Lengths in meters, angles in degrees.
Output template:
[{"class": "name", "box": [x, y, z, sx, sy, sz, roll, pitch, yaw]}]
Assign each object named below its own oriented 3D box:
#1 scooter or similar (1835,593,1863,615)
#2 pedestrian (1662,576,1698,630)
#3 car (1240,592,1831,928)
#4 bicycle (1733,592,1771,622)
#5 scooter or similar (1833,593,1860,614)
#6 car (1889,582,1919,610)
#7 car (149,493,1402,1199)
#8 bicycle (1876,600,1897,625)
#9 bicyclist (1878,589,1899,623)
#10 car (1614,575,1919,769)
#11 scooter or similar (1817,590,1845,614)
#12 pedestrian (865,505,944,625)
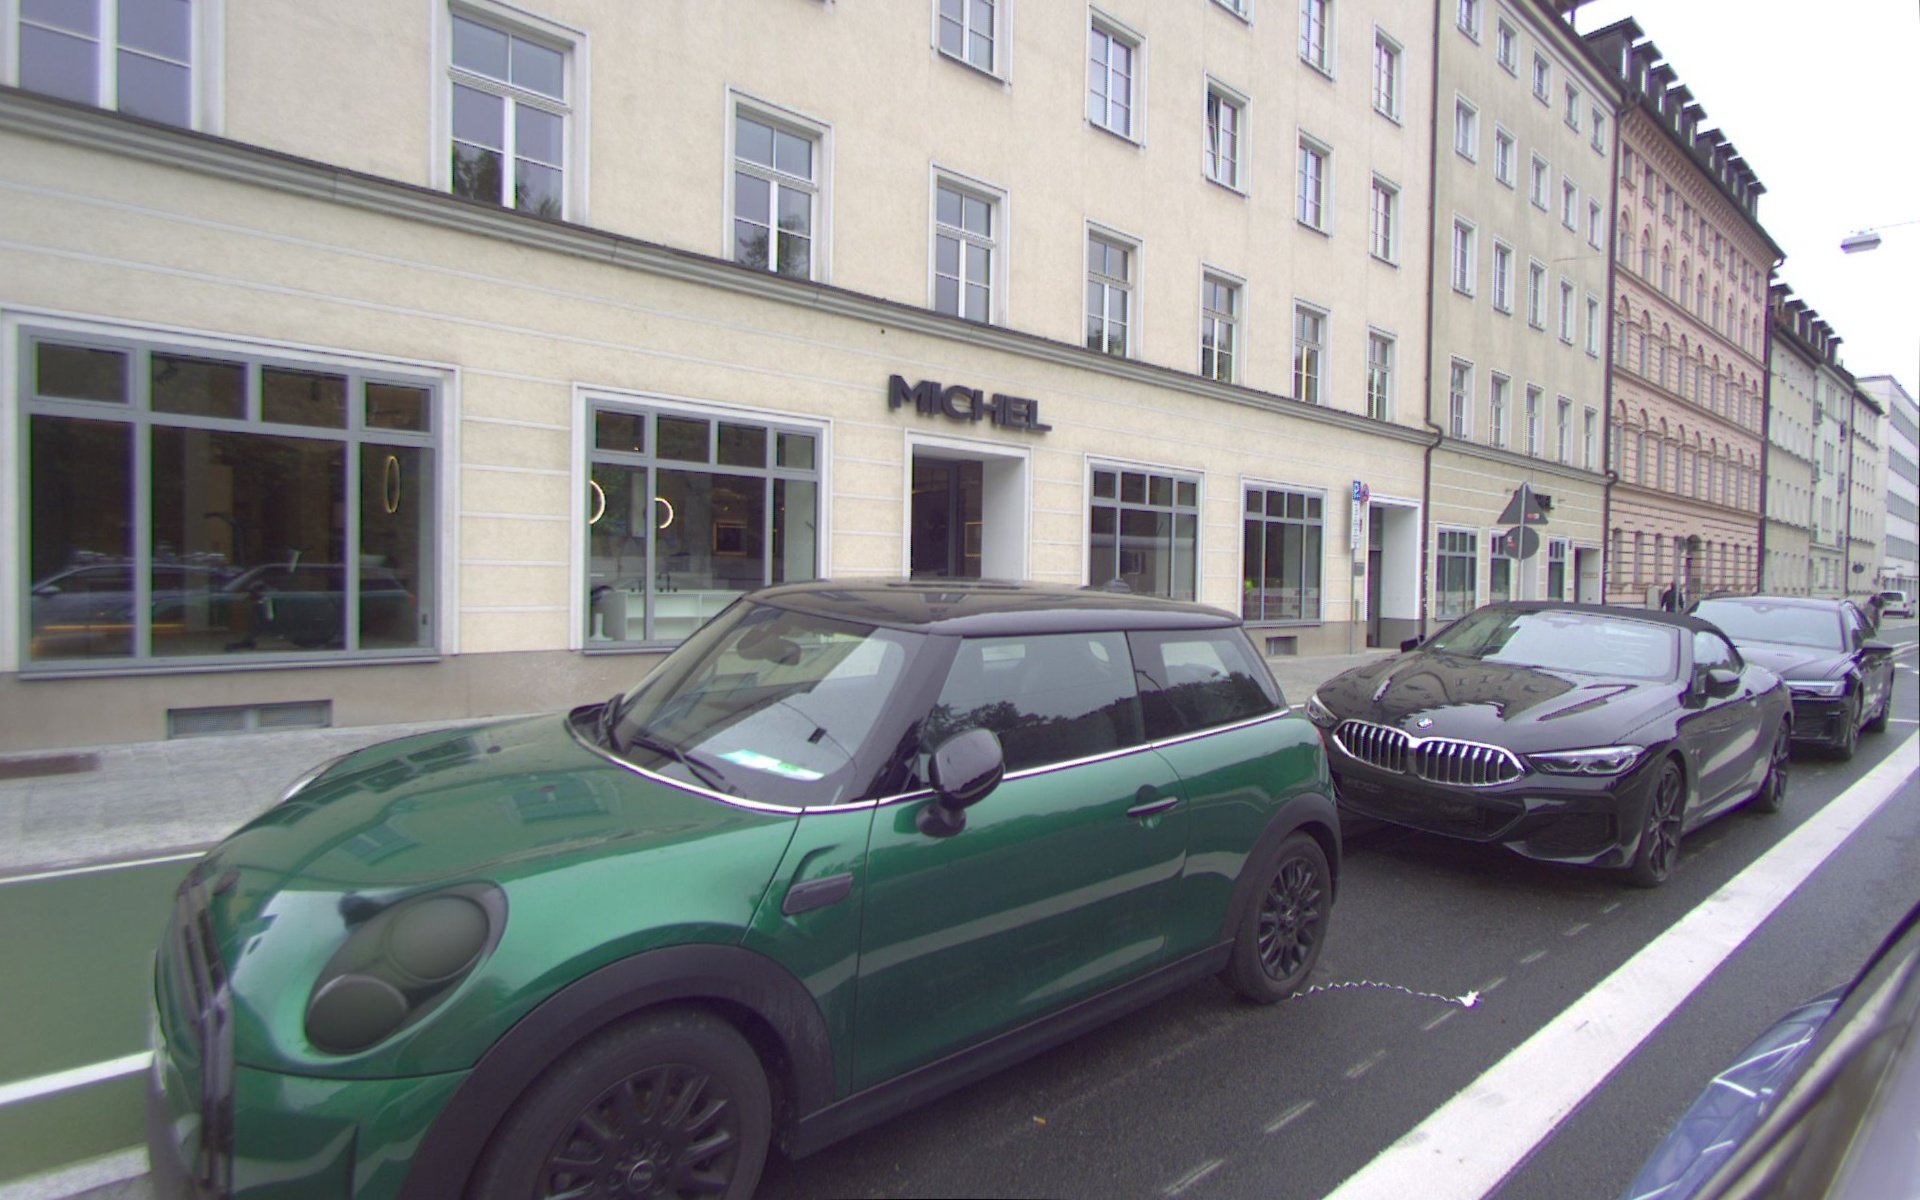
[{"class": "scooter or similar", "box": [50.512, 0.206, 57.522, 1.063, 1.207, 0.451, 2, 1, 20]}, {"class": "pedestrian", "box": [24.140, 0.088, 33.939, 0.819, 1.767, 0.795, 0, 1, -40]}, {"class": "car", "box": [3.935, 0.667, 6.511, 4.636, 1.425, 1.829, 0, 0, -40]}, {"class": "bicycle", "box": [33.057, 0.288, 42.252, 1.690, 1.191, 0.558, 0, 1, -27]}, {"class": "scooter or similar", "box": [51.319, 0.208, 58.599, 1.059, 1.207, 0.436, 1, 1, 10]}, {"class": "car", "box": [64.156, -0.281, 68.287, 3.931, 1.855, 1.764, 0, 1, -42]}, {"class": "car", "box": [-0.261, 0.601, 3.350, 3.761, 1.540, 1.678, 0, 0, -40]}, {"class": "bicycle", "box": [41.125, 0.543, 44.946, 0.630, 1.050, 1.987, 2, 2, 42]}, {"class": "bicyclist", "box": [41.193, 0.255, 44.906, 0.630, 1.486, 0.643, 2, 1, 42]}, {"class": "car", "box": [8.609, 0.582, 10.613, 4.386, 1.498, 1.812, 0, 5, -43]}, {"class": "scooter or similar", "box": [46.921, 0.121, 54.533, 1.055, 1.261, 0.554, 1, 1, -6]}, {"class": "pedestrian", "box": [-0.824, -0.519, 14.955, 0.767, 1.710, 0.861, 0, 2, -39]}]
